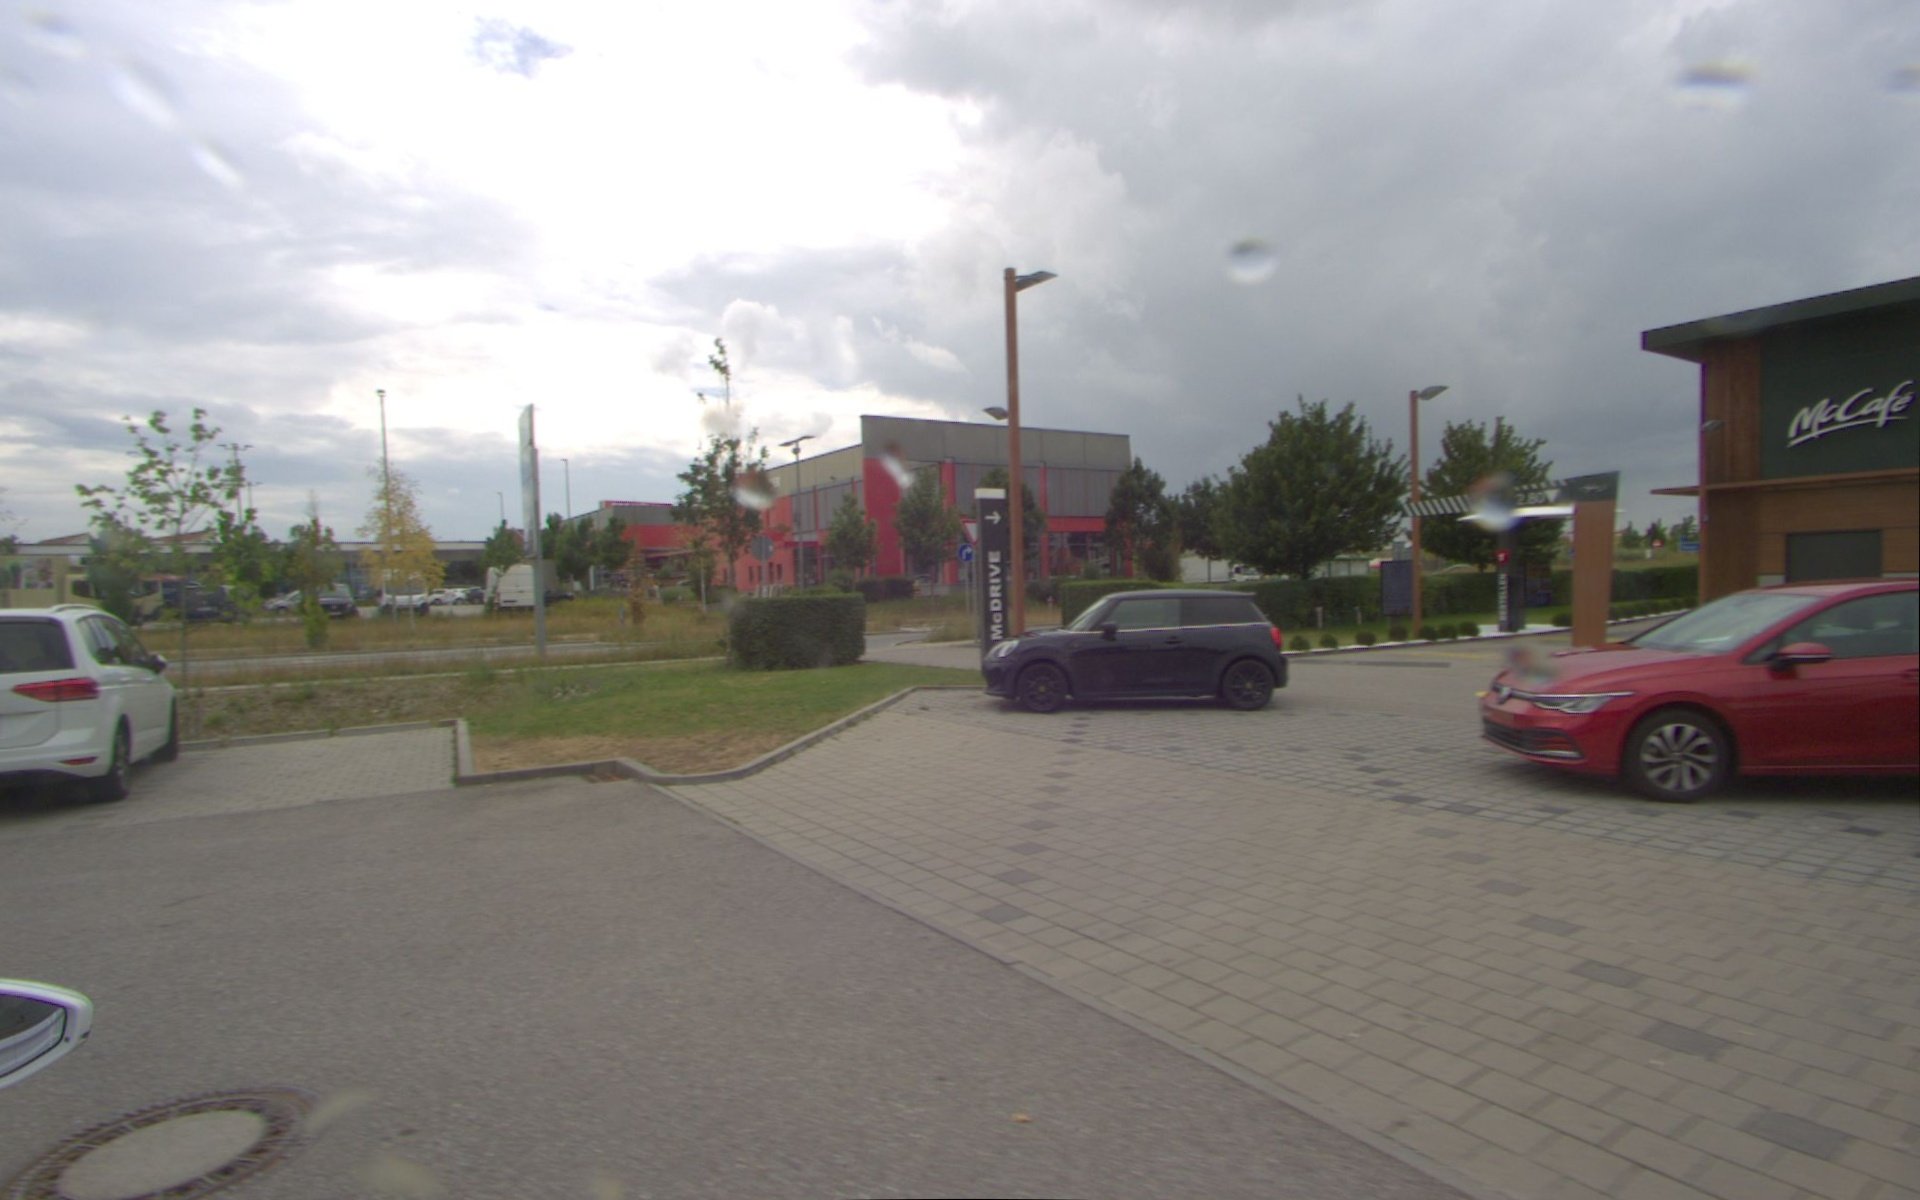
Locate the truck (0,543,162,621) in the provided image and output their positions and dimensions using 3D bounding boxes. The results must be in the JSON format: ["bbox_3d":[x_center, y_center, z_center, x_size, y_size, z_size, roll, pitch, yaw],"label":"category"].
[{"bbox_3d":[-40.435,-0.806,44.180,8.268,3.241,3.026,-1,3,5],"label":"truck"}]

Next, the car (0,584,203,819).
[{"bbox_3d":[-8.495,0.824,9.135,1.963,1.735,4.350,-2,-1,-30],"label":"car"}]

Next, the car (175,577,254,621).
[{"bbox_3d":[-34.787,-0.071,46.896,2.045,1.910,5.047,-2,1,-27],"label":"car"}]

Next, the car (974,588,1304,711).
[{"bbox_3d":[2.164,0.586,12.684,3.854,1.431,1.686,-1,1,5],"label":"car"}]

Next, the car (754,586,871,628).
[{"bbox_3d":[-6.067,0.250,41.227,4.356,1.507,1.919,-2,3,-30],"label":"car"}]

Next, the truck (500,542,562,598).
[{"bbox_3d":[-31.253,-2.212,72.783,2.620,3.796,8.199,-3,3,-33],"label":"truck"}]

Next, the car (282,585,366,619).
[{"bbox_3d":[-36.615,0.066,57.716,3.945,1.763,1.878,-3,3,-33],"label":"car"}]

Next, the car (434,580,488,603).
[{"bbox_3d":[-42.802,-0.756,85.907,3.941,1.863,1.988,-2,3,-30],"label":"car"}]

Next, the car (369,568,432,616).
[{"bbox_3d":[-28.239,-0.467,50.429,2.383,2.245,6.020,-2,3,-32],"label":"car"}]

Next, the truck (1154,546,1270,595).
[{"bbox_3d":[24.649,-2.953,98.912,3.715,4.562,11.920,-3,3,-32],"label":"truck"}]

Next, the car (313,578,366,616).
[{"bbox_3d":[-30.185,-0.194,48.690,2.049,1.661,5.037,-2,3,-32],"label":"car"}]

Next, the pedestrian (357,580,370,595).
[{"bbox_3d":[-59.621,-1.269,100.089,0.784,1.449,0.651,0,3,20],"label":"pedestrian"}]

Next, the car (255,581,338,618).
[{"bbox_3d":[-40.077,-0.065,60.519,3.954,2.042,1.982,-3,4,-40],"label":"car"}]

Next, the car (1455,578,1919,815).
[{"bbox_3d":[5.906,0.599,7.141,3.924,1.484,1.686,0,1,10],"label":"car"}]

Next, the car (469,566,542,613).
[{"bbox_3d":[-24.014,-0.642,52.765,2.314,2.299,6.459,-3,3,-34],"label":"car"}]

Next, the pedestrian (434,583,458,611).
[{"bbox_3d":[-27.645,-0.188,53.870,0.965,1.449,0.782,-3,4,-36],"label":"pedestrian"}]
